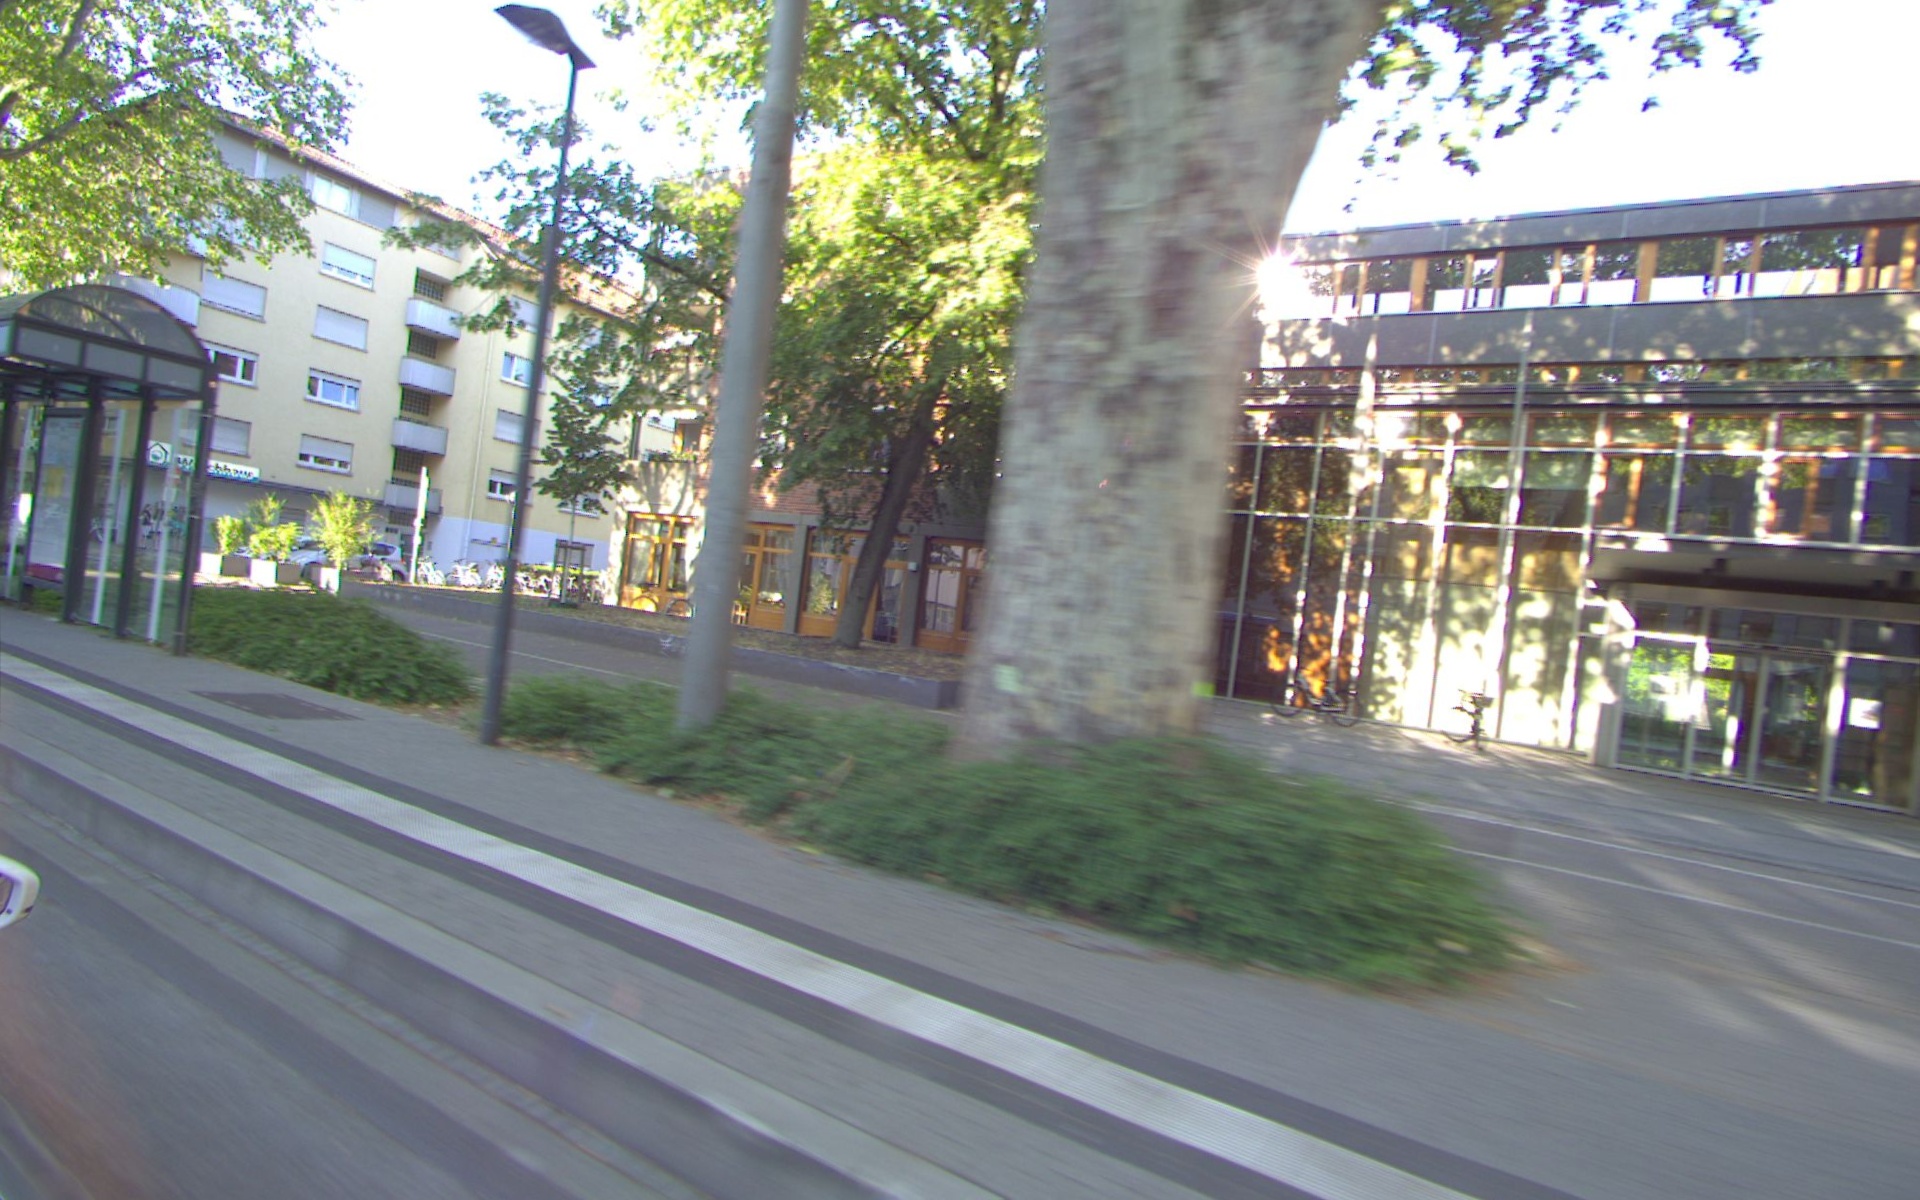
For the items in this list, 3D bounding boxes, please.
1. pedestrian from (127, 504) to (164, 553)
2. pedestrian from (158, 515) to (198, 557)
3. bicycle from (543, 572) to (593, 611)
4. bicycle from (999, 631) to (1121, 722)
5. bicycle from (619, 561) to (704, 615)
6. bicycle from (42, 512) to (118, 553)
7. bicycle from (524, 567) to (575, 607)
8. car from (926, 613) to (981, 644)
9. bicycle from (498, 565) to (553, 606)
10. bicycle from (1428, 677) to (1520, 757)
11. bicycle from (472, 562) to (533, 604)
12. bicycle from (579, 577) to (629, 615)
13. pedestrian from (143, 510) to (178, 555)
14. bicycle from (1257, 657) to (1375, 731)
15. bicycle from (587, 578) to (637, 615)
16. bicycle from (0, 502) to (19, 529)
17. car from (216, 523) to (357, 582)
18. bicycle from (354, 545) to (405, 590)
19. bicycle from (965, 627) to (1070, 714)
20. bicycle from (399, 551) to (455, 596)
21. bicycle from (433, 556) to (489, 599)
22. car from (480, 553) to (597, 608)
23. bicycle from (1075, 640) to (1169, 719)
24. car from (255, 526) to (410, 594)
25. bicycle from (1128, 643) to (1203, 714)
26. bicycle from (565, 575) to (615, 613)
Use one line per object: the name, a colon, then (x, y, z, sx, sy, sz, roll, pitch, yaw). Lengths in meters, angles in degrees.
pedestrian: (-30.610, -2.692, 37.804, 0.649, 1.703, 0.703, 7, 0, 4)
pedestrian: (-29.933, -2.437, 38.508, 0.755, 1.432, 0.841, 7, 0, 23)
bicycle: (-13.613, -0.307, 34.897, 1.669, 1.171, 0.661, 7, 2, 31)
bicycle: (1.465, 1.102, 14.440, 0.564, 1.171, 2.027, 7, 1, 41)
bicycle: (-7.522, -0.301, 25.396, 1.921, 1.171, 0.565, 5, 1, -43)
bicycle: (-29.441, -2.252, 33.695, 0.731, 1.171, 1.797, 6, 1, 10)
bicycle: (-14.010, -0.451, 34.296, 1.669, 1.171, 0.661, 7, 2, 31)
car: (-0.405, 1.937, 68.274, 1.835, 1.713, 3.867, 7, -1, 31)
bicycle: (-14.520, -0.476, 33.608, 1.820, 1.171, 0.661, 7, 2, 31)
bicycle: (9.336, 2.091, 18.361, 0.719, 1.171, 1.950, 6, 1, 6)
bicycle: (-14.896, -0.557, 32.729, 2.017, 1.171, 0.731, 7, 2, 32)
bicycle: (-12.695, -0.152, 35.887, 1.666, 1.172, 0.521, 6, 2, 21)
pedestrian: (-29.656, -2.498, 37.310, 0.692, 1.558, 0.688, 7, 0, -18)
bicycle: (7.055, 1.838, 20.004, 2.009, 1.171, 0.704, 7, 2, 41)
bicycle: (-12.669, -0.118, 36.591, 1.666, 1.172, 0.564, 6, 2, 21)
bicycle: (-39.315, -3.486, 41.149, 1.749, 1.010, 0.571, 7, 2, 27)
car: (-25.017, -1.741, 37.486, 1.835, 1.571, 3.867, 10, 1, 31)
bicycle: (-17.275, -0.978, 29.937, 1.671, 1.171, 0.600, 7, 2, 35)
bicycle: (0.904, 1.047, 15.177, 0.563, 1.171, 2.032, 7, 1, 32)
bicycle: (-16.191, -0.815, 30.555, 1.668, 1.172, 0.601, 7, 2, 27)
bicycle: (-15.750, -0.713, 31.743, 1.950, 1.171, 0.636, 7, 2, 34)
car: (-16.803, -0.746, 40.307, 1.835, 1.713, 3.867, 7, -1, 31)
bicycle: (2.705, 1.300, 16.638, 0.563, 1.171, 2.030, 7, 1, 37)
car: (-20.747, -1.284, 33.401, 1.835, 1.713, 3.867, 7, -1, 31)
bicycle: (3.756, 1.422, 18.294, 0.563, 1.171, 1.676, 7, 1, 37)
bicycle: (-12.996, -0.213, 35.311, 1.668, 1.172, 0.563, 7, 2, 27)
